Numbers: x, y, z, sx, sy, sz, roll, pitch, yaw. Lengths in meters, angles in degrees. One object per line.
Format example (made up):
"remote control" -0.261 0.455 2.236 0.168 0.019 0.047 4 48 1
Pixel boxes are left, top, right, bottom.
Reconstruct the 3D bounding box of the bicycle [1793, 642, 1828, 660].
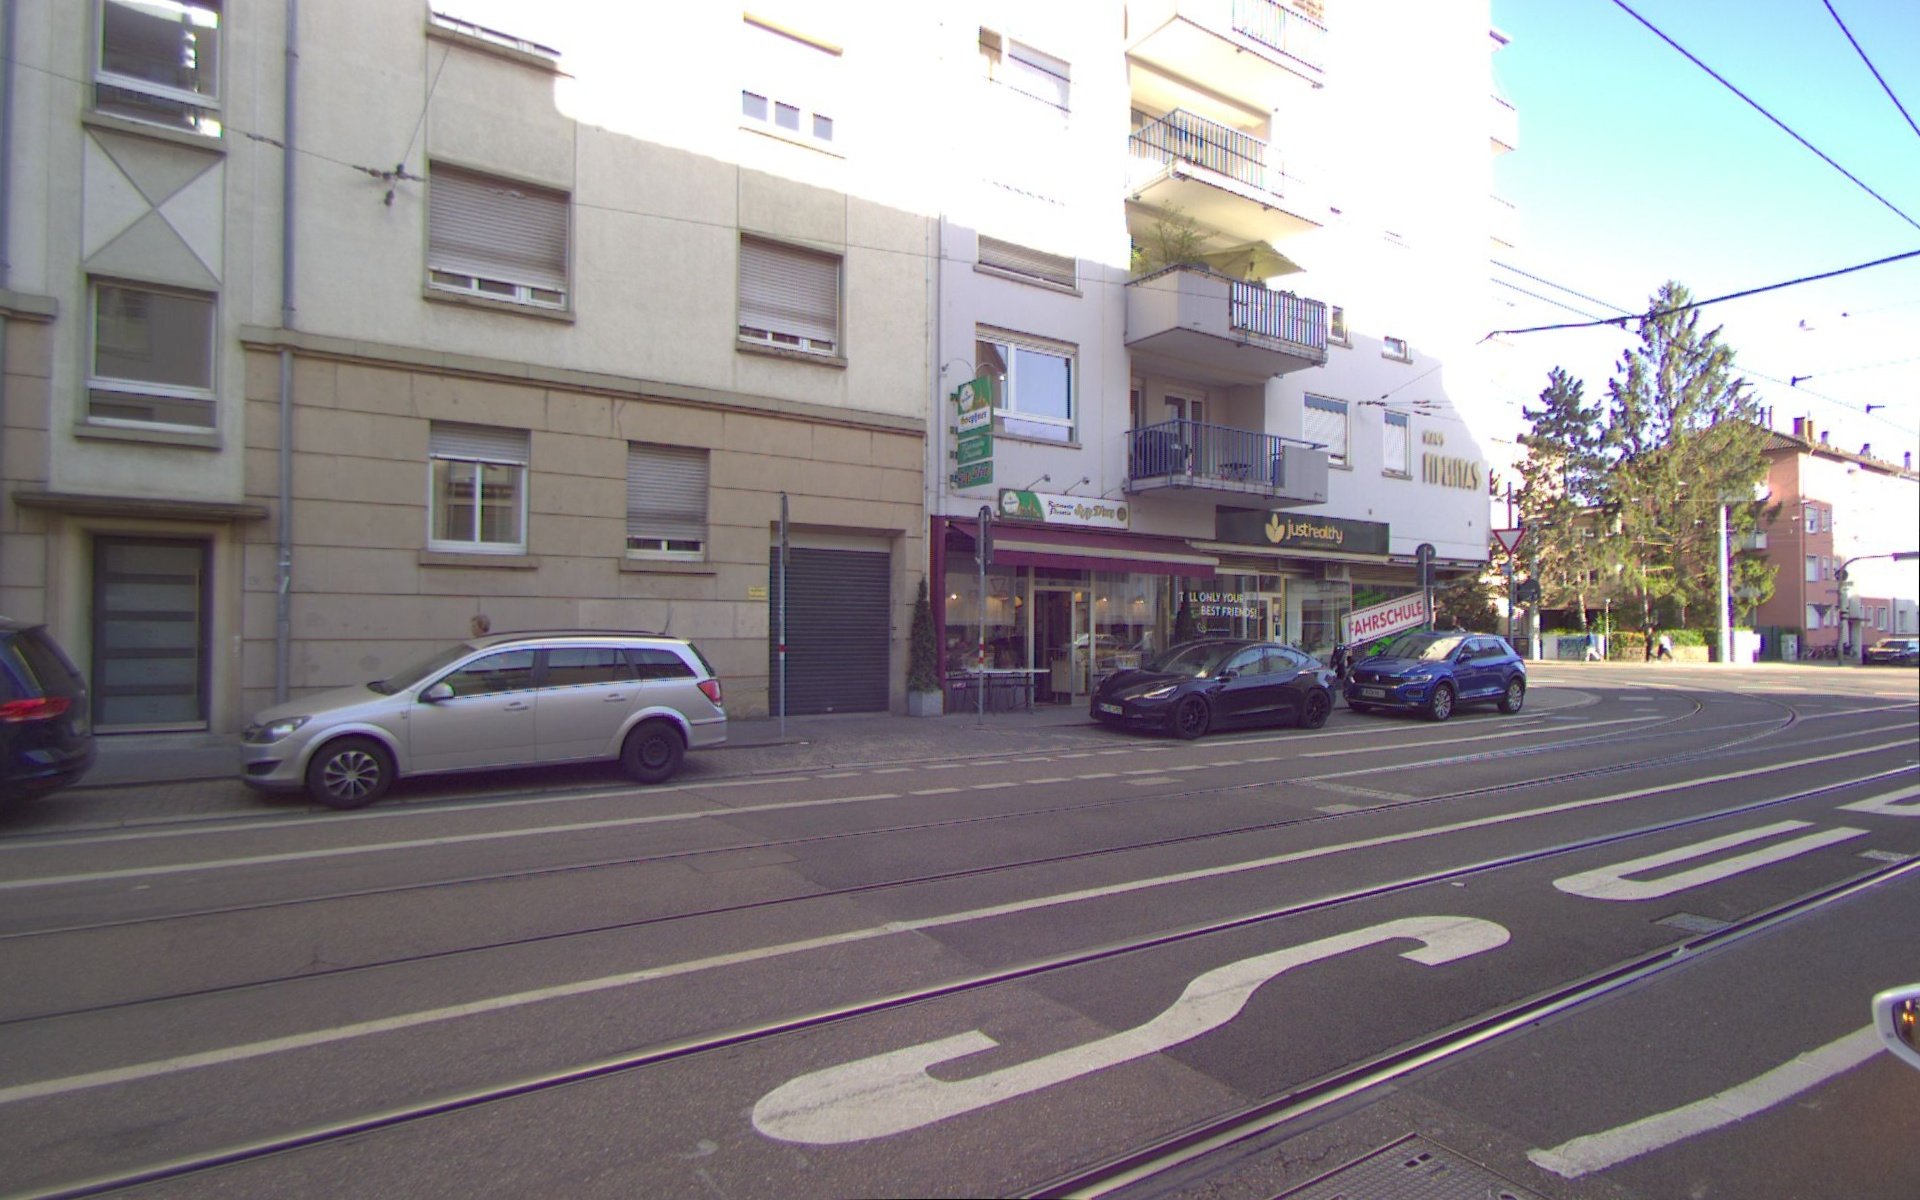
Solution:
"bicycle" 47.099 2.796 55.636 2.568 0.964 0.729 1 -2 -32

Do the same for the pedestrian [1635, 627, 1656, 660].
"pedestrian" 35.992 2.261 52.768 0.723 1.713 0.846 0 -1 23

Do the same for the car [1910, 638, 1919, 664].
"car" 58.086 2.995 59.459 3.959 1.517 1.899 1 -2 -34

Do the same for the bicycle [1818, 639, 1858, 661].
"bicycle" 51.854 2.926 59.311 3.267 1.241 0.844 1 -2 -32

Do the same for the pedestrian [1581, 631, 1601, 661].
"pedestrian" 34.332 2.495 54.669 0.835 1.647 0.515 -1 -2 27

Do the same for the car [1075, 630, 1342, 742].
"car" 4.028 1.299 16.021 4.266 1.529 1.689 2 -1 -33

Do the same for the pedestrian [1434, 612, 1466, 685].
"pedestrian" 13.953 1.375 28.613 0.480 2.040 0.683 1 -1 -30

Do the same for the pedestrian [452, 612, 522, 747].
"pedestrian" -5.743 0.935 12.185 0.713 1.569 0.694 0 -1 -30

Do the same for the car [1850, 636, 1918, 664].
"car" 49.521 2.668 53.823 3.961 1.452 1.898 1 -2 -36

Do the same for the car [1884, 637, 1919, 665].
"car" 54.257 2.851 56.947 3.959 1.517 1.899 1 -2 -34

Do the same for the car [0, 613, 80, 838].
"car" -9.113 0.888 7.050 4.202 1.637 1.688 2 -1 -36

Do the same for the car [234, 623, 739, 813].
"car" -4.641 1.058 10.230 4.340 1.529 1.689 2 -1 -34

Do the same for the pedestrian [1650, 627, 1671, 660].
"pedestrian" 36.195 2.228 51.889 0.723 1.713 0.846 0 -1 24

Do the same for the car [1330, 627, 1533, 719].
"car" 8.996 1.322 19.078 3.959 1.529 1.733 2 -1 -35
